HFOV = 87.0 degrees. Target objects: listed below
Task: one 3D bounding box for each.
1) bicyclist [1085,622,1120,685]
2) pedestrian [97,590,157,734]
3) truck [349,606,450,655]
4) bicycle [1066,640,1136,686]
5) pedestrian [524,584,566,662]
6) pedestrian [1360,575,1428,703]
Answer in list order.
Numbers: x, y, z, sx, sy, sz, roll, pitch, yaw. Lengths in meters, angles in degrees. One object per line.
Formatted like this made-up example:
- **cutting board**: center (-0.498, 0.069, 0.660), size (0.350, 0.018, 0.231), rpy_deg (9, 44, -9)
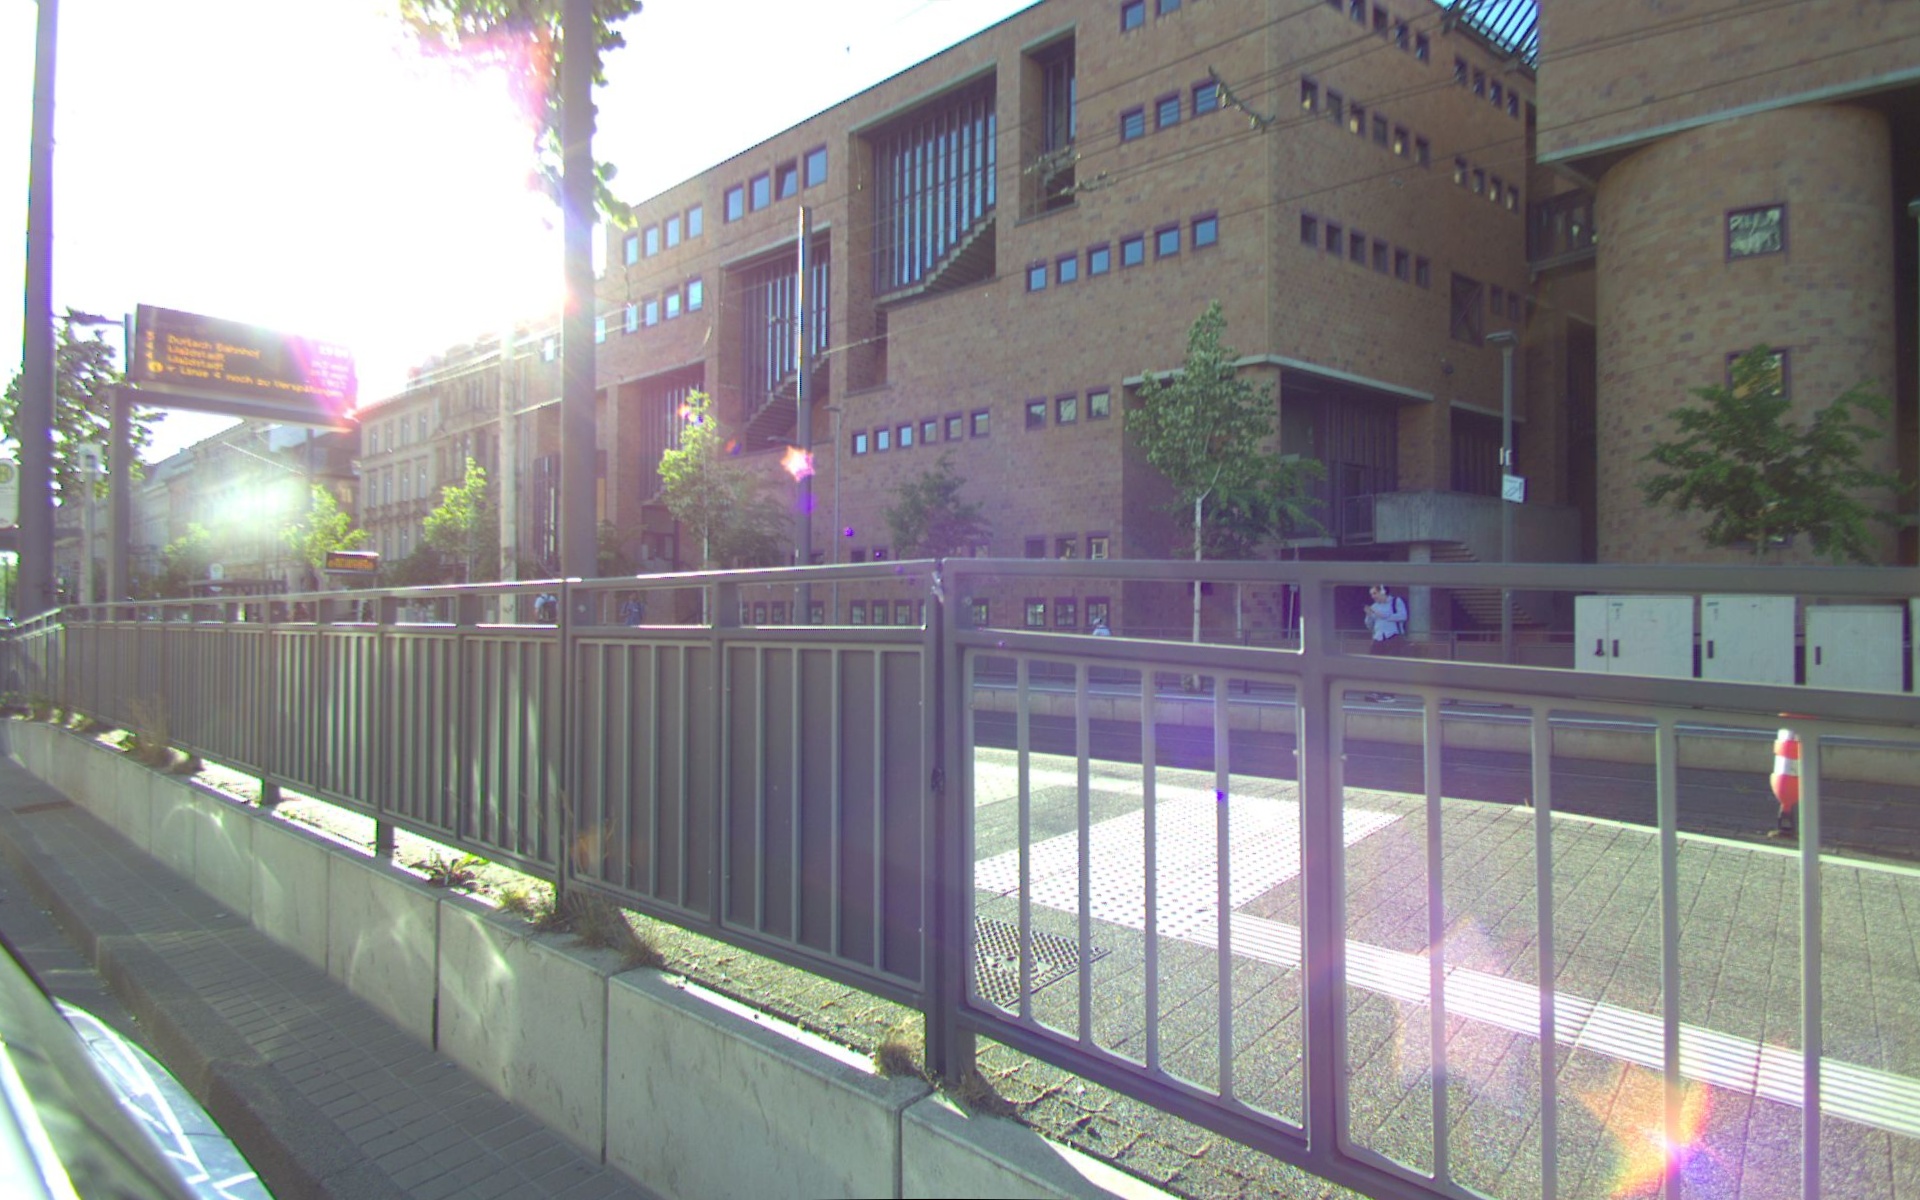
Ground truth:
- **bicyclist**: center (3.620, 1.337, 25.706), size (0.650, 1.545, 0.580), rpy_deg (0, 0, 41)
- **pedestrian**: center (-14.599, 1.059, 17.739), size (0.625, 2.461, 0.676), rpy_deg (0, 0, 38)
- **truck**: center (-23.601, 1.308, 42.545), size (5.151, 1.894, 1.973), rpy_deg (-2, -4, 40)
- **bicycle**: center (3.561, 1.578, 25.641), size (1.814, 1.098, 0.455), rpy_deg (0, -3, 42)
- **pedestrian**: center (-9.897, 0.528, 24.138), size (0.668, 1.821, 0.677), rpy_deg (0, 0, 40)
- **pedestrian**: center (5.779, 0.497, 13.474), size (0.684, 1.647, 0.660), rpy_deg (0, 0, 37)
